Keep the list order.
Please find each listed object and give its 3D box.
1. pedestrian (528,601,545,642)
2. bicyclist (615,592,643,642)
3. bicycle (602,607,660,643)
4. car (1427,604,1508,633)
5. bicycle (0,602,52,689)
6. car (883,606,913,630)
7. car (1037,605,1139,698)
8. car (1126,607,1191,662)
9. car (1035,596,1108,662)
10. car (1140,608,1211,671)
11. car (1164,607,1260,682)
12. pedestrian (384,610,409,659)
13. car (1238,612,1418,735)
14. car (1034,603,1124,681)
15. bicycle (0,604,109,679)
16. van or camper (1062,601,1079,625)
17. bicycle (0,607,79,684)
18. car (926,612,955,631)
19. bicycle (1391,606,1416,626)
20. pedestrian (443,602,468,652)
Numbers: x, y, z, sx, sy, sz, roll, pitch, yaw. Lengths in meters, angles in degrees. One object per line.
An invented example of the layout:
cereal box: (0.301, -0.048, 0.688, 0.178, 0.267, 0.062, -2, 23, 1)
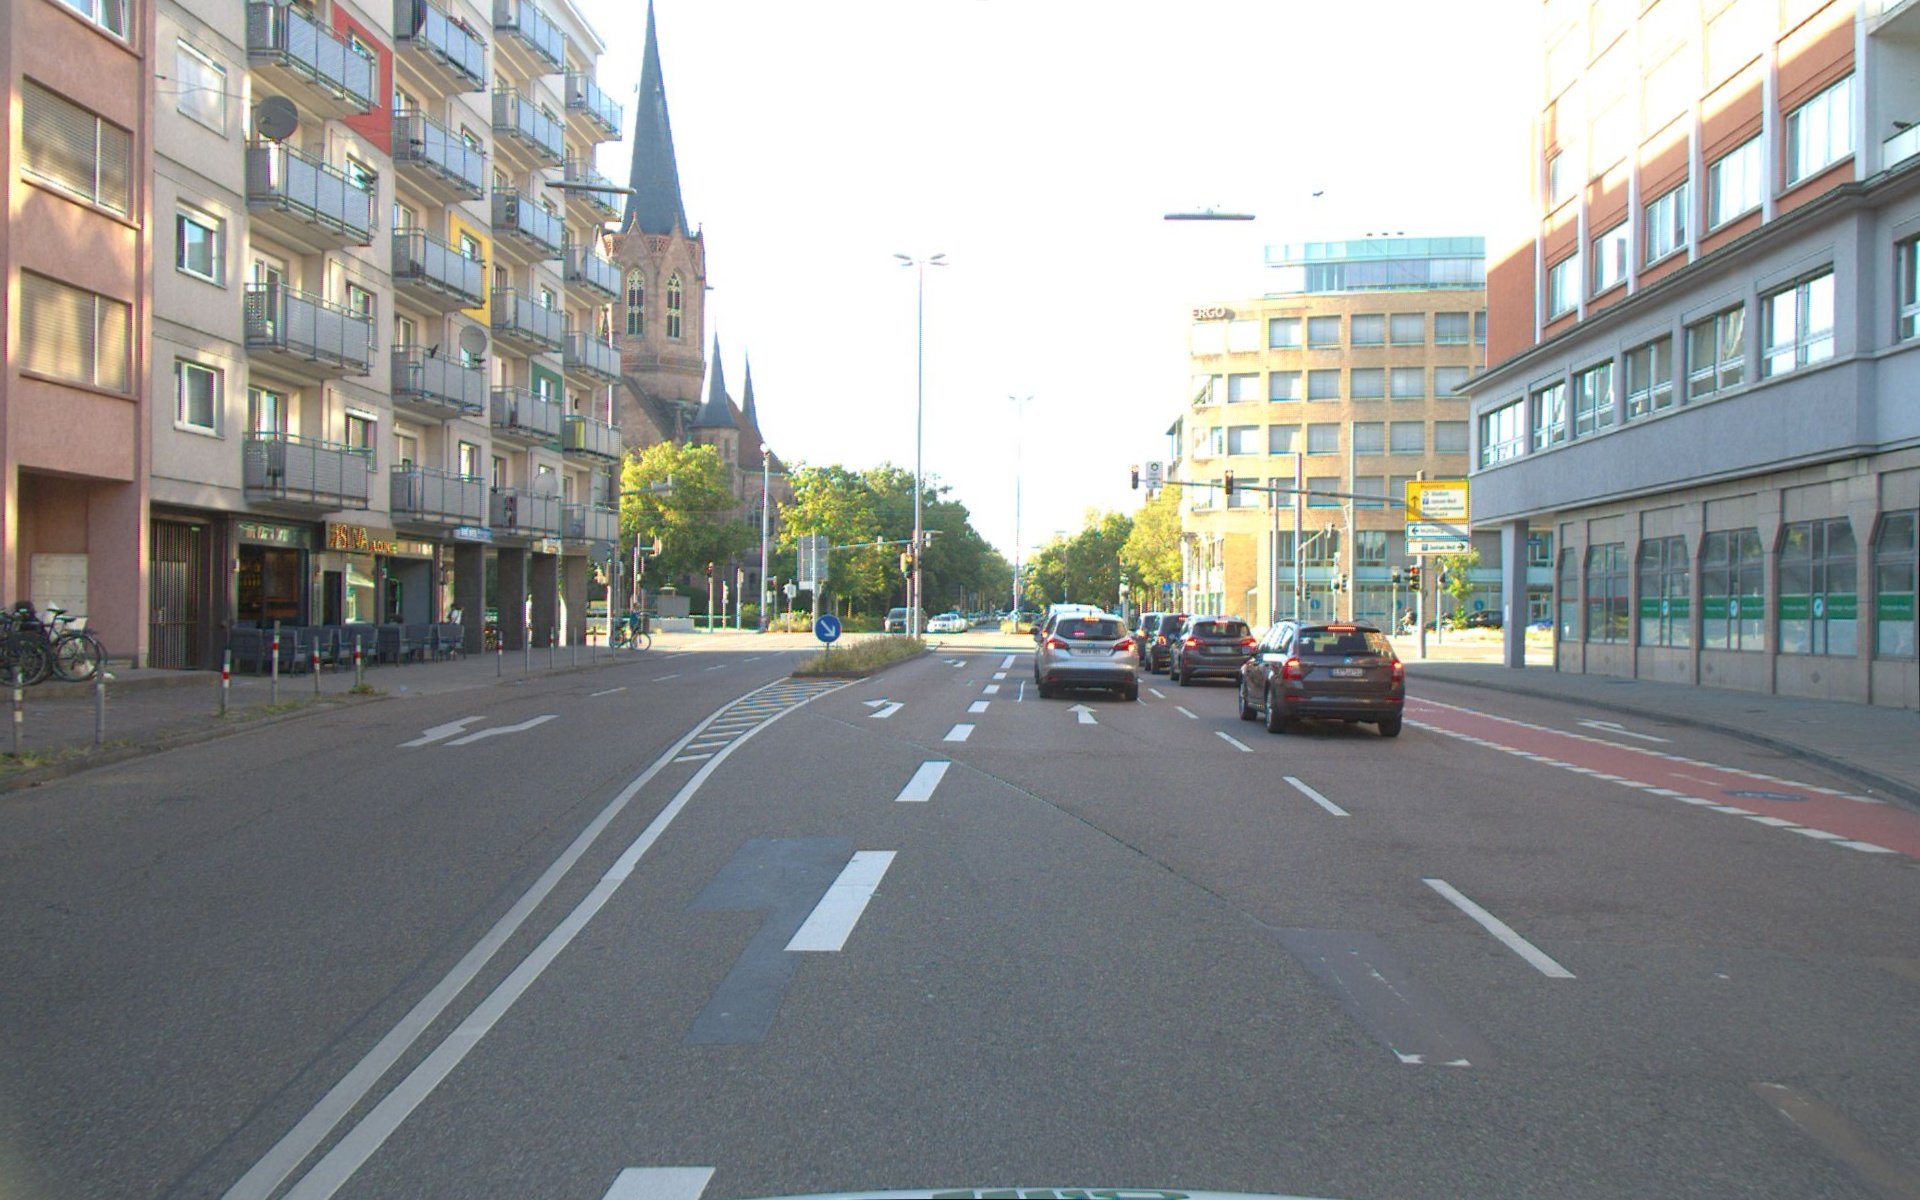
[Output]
pedestrian: (-16.095, 0.810, 62.858, 0.458, 1.557, 0.576, 0, 0, 2)
bicyclist: (-11.395, 0.583, 56.932, 0.766, 1.689, 0.901, 0, 0, 2)
bicycle: (-11.205, 0.837, 56.372, 1.789, 1.209, 0.734, 0, 0, 1)
car: (29.492, 1.076, 96.187, 4.140, 1.643, 2.001, 0, 0, 4)
bicycle: (-13.442, 0.608, 22.677, 1.647, 1.180, 0.493, 2, -1, -24)
car: (-4.305, 1.242, 115.364, 1.743, 1.676, 4.002, 0, 0, 3)
car: (2.247, 0.872, 30.005, 1.672, 1.536, 4.310, 1, 0, 2)
car: (5.713, 0.978, 47.867, 1.552, 1.472, 3.648, 2, 0, 2)
car: (2.902, 0.725, 43.804, 1.747, 1.661, 4.479, 0, 0, 2)
car: (5.474, 0.974, 42.306, 1.458, 1.532, 3.479, 0, 0, 1)
car: (5.473, 0.934, 36.330, 1.616, 1.510, 4.240, 1, 0, 2)
pedestrian: (-14.346, 0.871, 42.131, 0.515, 1.224, 0.547, 0, 0, -29)
car: (4.865, 0.916, 22.365, 1.672, 1.483, 4.160, 0, 0, 2)
car: (2.521, 0.857, 35.790, 1.766, 1.596, 3.619, 0, 0, 1)
bicycle: (-13.508, 0.609, 24.316, 1.640, 1.059, 0.548, 2, -1, -13)
van or camper: (12.990, 1.517, 193.929, 1.951, 2.687, 5.353, 0, 0, 4)
bicycle: (-13.505, 0.629, 23.486, 1.637, 1.059, 0.549, 2, -1, -5)
car: (-1.366, 1.510, 114.686, 1.743, 1.258, 4.002, 0, 0, 3)
bicycle: (27.201, 0.997, 101.464, 1.487, 1.193, 0.475, 0, 0, 9)
pedestrian: (-14.150, 0.756, 46.395, 0.473, 1.408, 0.481, 0, -1, 23)
